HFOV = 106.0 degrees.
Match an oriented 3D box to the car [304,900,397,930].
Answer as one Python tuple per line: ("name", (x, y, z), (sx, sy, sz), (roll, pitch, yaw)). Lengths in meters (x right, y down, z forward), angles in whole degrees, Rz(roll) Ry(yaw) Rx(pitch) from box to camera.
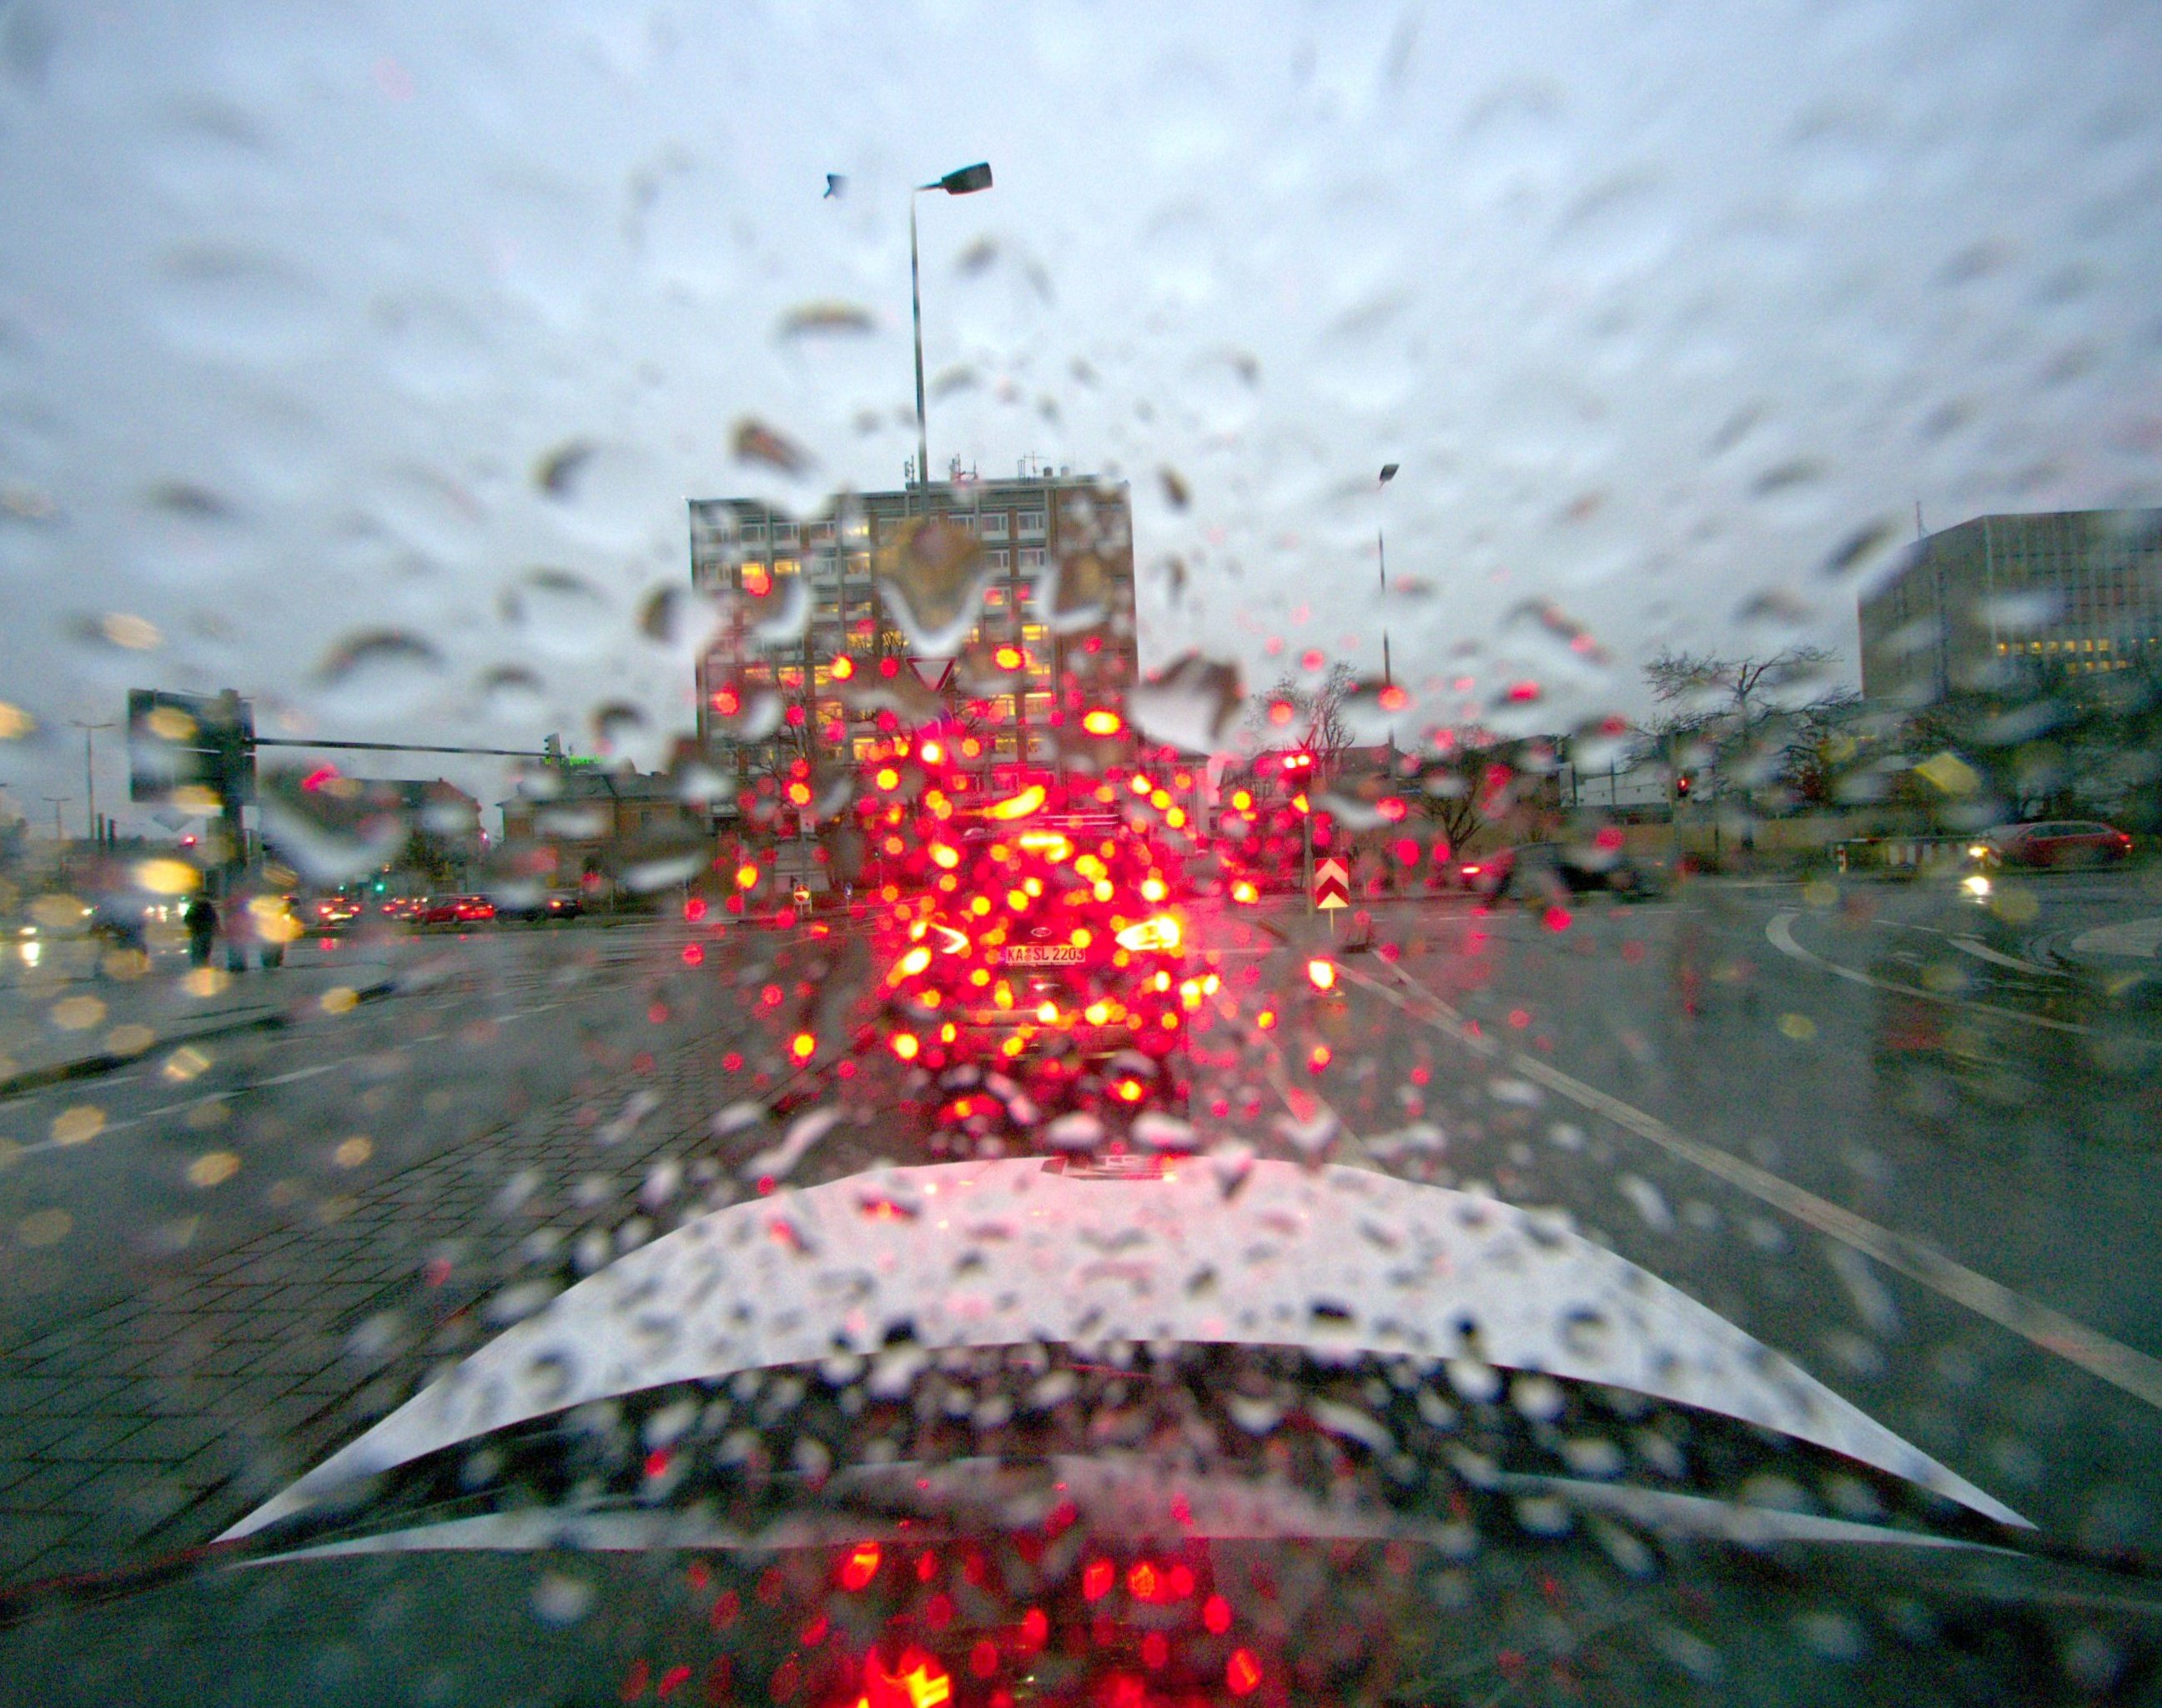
("car", (-43.822, 3.625, 48.916), (1.582, 1.482, 3.840), (-1, -1, 31))

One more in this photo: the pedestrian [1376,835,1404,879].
("pedestrian", (15.424, 0.160, 40.690), (0.891, 2.113, 0.884), (-3, 0, -4))

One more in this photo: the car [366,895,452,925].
("car", (-38.404, 3.178, 46.618), (1.496, 1.461, 3.453), (-1, -1, 31))

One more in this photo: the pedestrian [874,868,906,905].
("pedestrian", (-10.111, 1.719, 43.169), (0.992, 1.842, 1.146), (-3, 2, 25))

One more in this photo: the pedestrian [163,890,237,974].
("pedestrian", (-19.542, 1.707, 18.073), (0.653, 1.755, 0.856), (-3, 0, 18))

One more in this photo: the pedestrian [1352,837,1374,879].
("pedestrian", (14.565, 0.194, 42.077), (0.887, 2.113, 0.889), (-3, 0, 13))

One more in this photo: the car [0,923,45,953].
("car", (-59.116, 4.636, 44.589), (4.536, 1.477, 1.821), (-3, -1, 24))

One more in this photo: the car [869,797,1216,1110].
("car", (-0.162, 0.590, 6.689), (1.986, 1.789, 4.001), (0, -1, 2))

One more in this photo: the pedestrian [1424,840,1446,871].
("pedestrian", (18.316, 0.084, 42.181), (0.886, 1.533, 0.890), (-3, 0, 19))

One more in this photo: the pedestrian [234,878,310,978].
("pedestrian", (-17.319, 1.553, 17.464), (0.996, 2.021, 0.792), (-3, 0, -39))

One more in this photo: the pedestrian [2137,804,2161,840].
("pedestrian", (49.968, -1.492, 37.716), (0.956, 1.603, 0.796), (-3, 0, 9))

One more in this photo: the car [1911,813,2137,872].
("car", (28.551, -0.323, 24.783), (4.390, 1.477, 1.814), (-3, -1, 6))

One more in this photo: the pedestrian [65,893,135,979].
("pedestrian", (-21.519, 1.783, 17.876), (0.741, 1.770, 0.546), (-3, 0, -12))

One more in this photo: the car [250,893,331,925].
("car", (-51.161, 3.535, 52.769), (1.649, 1.826, 3.609), (-1, -1, 39))

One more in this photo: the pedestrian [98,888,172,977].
("pedestrian", (-20.826, 1.712, 17.948), (0.733, 1.838, 0.674), (-3, 0, -11))

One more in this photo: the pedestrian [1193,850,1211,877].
("pedestrian", (7.571, 0.586, 51.105), (0.712, 1.628, 0.767), (-3, 0, 42))

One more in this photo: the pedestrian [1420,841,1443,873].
("pedestrian", (17.708, 0.155, 41.159), (0.916, 1.533, 1.048), (-3, 0, 21))

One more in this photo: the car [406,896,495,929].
("car", (-33.330, 3.058, 43.075), (3.954, 1.568, 1.836), (-1, -1, 20))

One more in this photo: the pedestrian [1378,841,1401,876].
("pedestrian", (16.096, 0.227, 42.532), (0.988, 1.799, 0.924), (-3, 0, 19))

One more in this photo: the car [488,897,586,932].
("car", (-27.041, 2.990, 40.509), (3.959, 1.568, 1.833), (-1, -1, 13))

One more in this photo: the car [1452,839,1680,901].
("car", (12.407, 0.410, 21.151), (4.654, 1.302, 1.944), (-3, -1, 10))

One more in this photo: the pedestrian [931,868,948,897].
("pedestrian", (-8.390, 1.681, 48.208), (0.754, 1.628, 0.559), (-3, 0, 14))

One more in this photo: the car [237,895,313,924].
("car", (-53.096, 3.619, 53.661), (1.505, 1.702, 3.411), (-1, -1, 39))

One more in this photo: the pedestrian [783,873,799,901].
("pedestrian", (-18.253, 2.083, 51.300), (0.634, 1.688, 0.640), (-3, 0, 18))

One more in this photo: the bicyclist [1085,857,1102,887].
("bicyclist", (0.669, 0.984, 44.494), (0.679, 1.599, 0.662), (-3, 0, 18))
